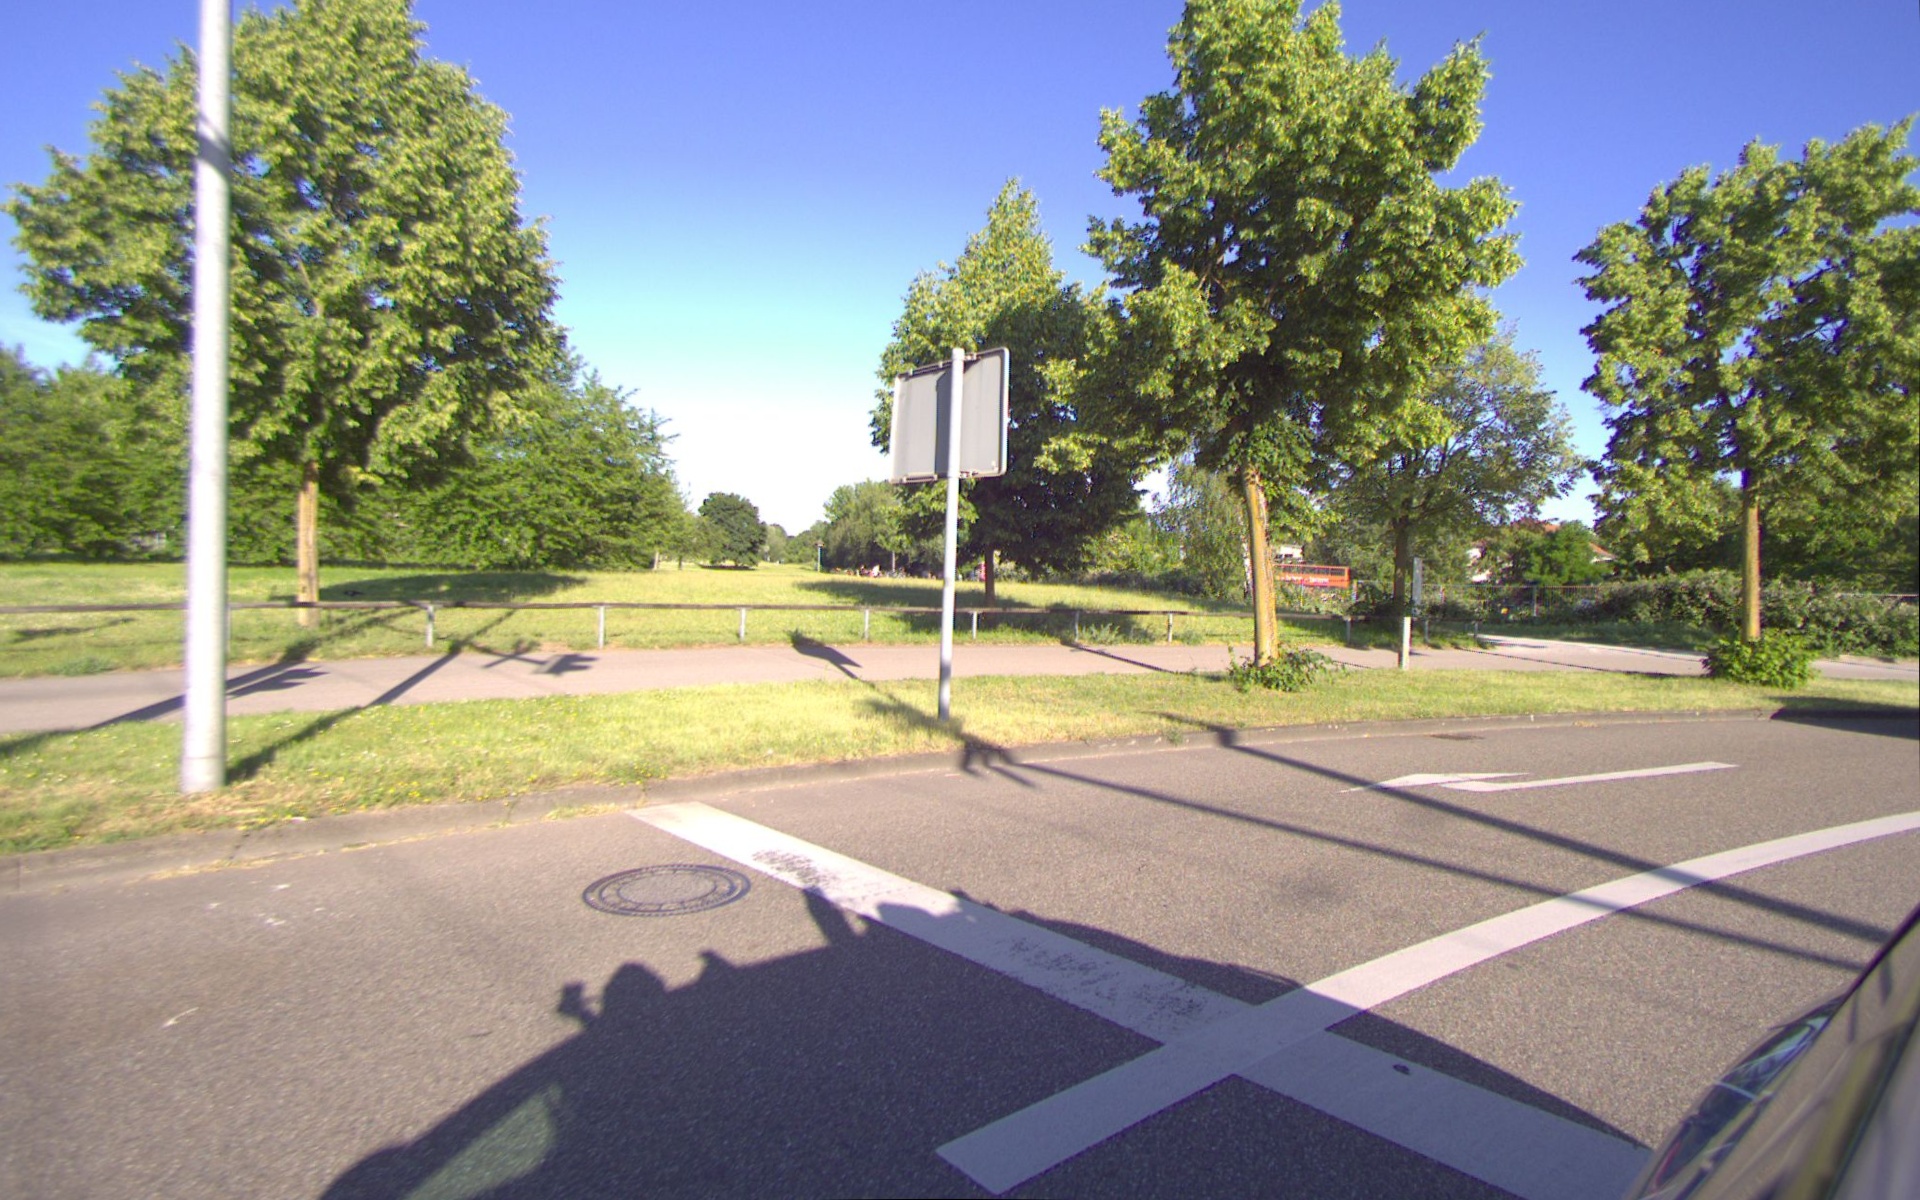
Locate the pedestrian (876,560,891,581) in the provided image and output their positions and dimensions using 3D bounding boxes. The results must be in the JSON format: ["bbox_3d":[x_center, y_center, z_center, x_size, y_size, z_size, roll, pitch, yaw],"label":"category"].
[{"bbox_3d":[-5.462,-2.128,72.129,0.764,1.458,0.790,2,1,18],"label":"pedestrian"}]

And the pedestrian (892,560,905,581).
[{"bbox_3d":[-4.360,-2.109,71.458,0.653,1.458,0.790,2,1,18],"label":"pedestrian"}]

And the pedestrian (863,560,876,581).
[{"bbox_3d":[-6.453,-2.126,72.146,0.678,1.458,0.790,2,1,18],"label":"pedestrian"}]

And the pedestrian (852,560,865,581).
[{"bbox_3d":[-7.300,-2.145,72.795,0.678,1.458,0.790,2,1,18],"label":"pedestrian"}]
